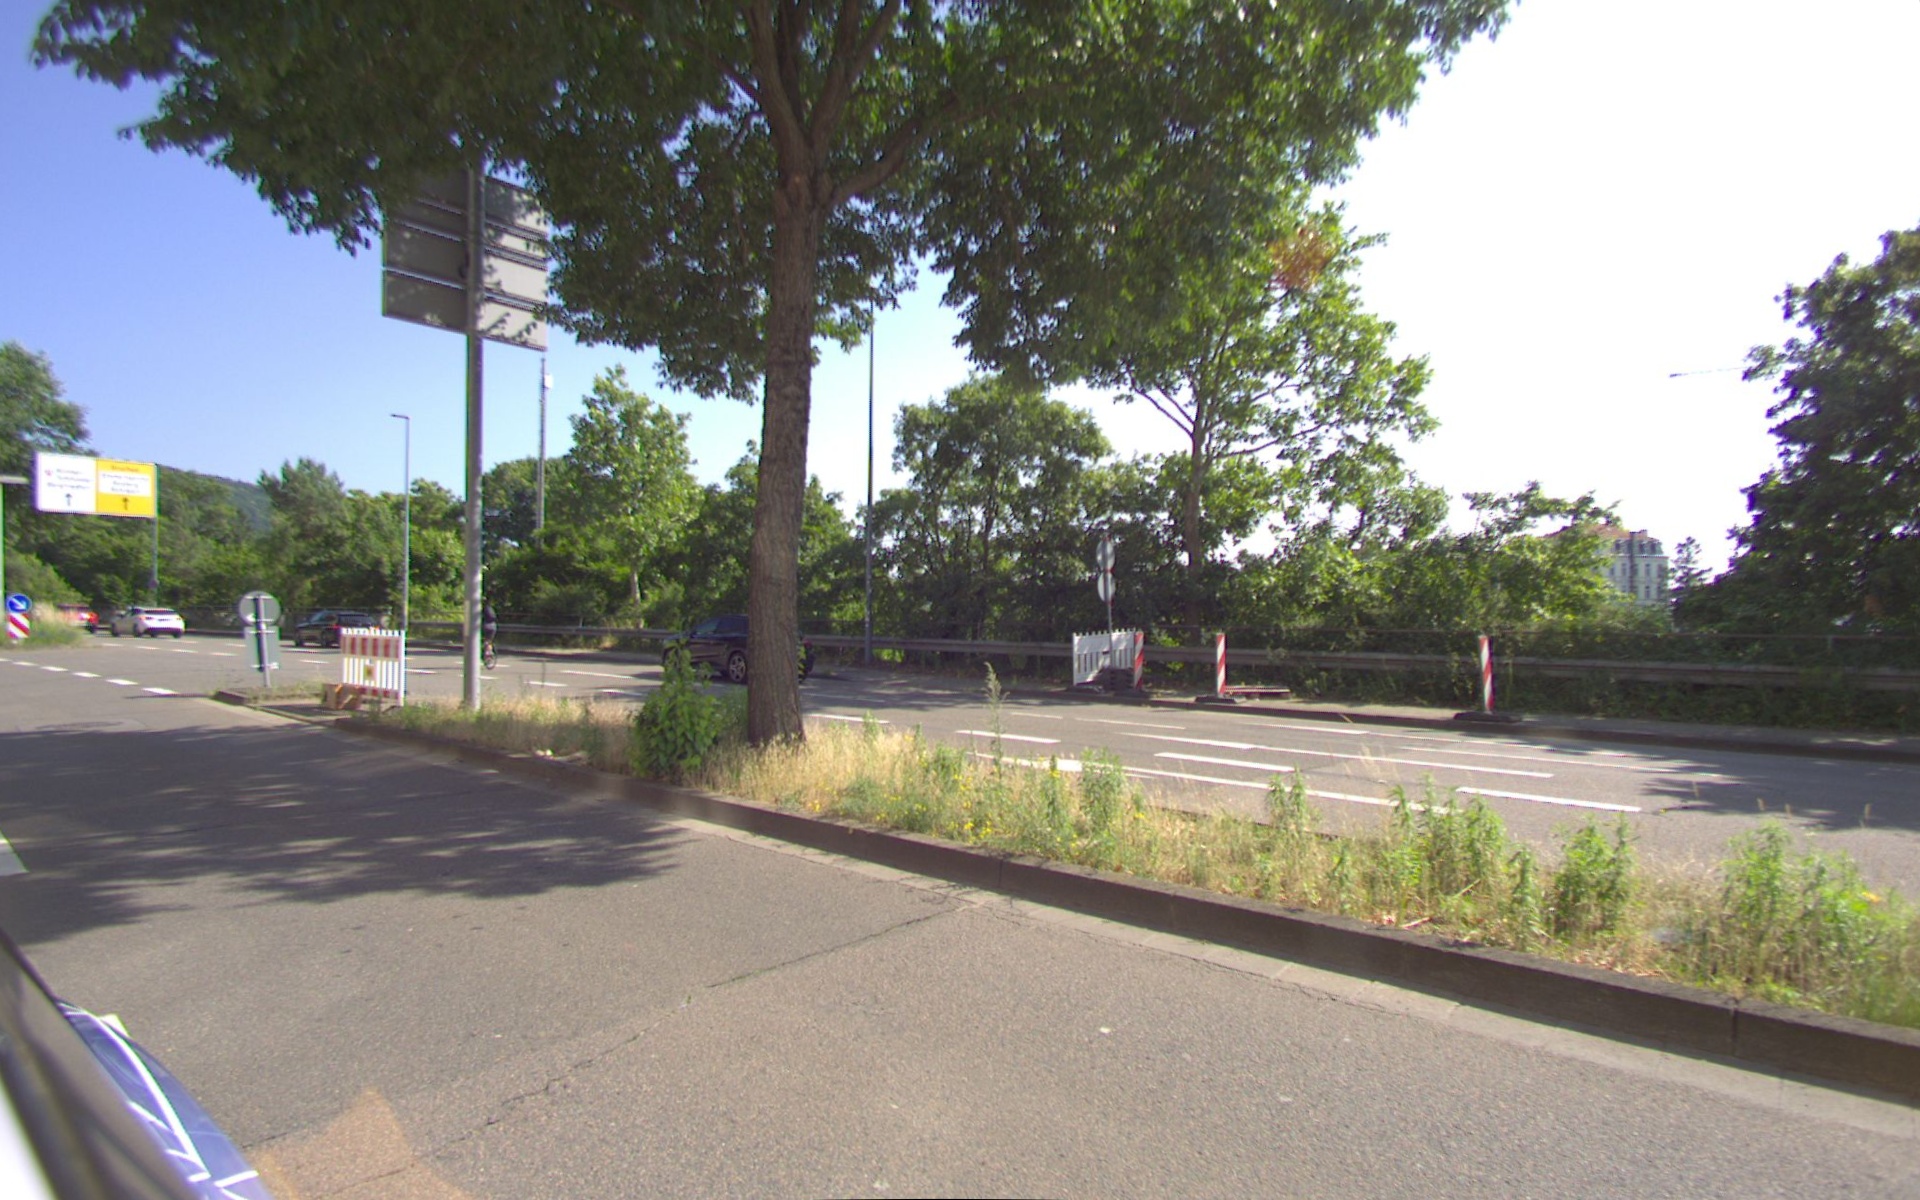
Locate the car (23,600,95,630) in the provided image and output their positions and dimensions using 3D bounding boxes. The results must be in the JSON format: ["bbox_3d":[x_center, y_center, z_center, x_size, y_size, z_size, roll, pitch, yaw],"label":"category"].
[{"bbox_3d":[-48.026,0.795,53.934,3.951,1.531,1.783,0,-2,32],"label":"car"}]

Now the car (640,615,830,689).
[{"bbox_3d":[-5.336,1.167,23.648,4.698,1.540,1.972,-1,-3,43],"label":"car"}]

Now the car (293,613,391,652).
[{"bbox_3d":[-24.369,1.265,39.839,4.613,1.422,1.973,-1,-3,41],"label":"car"}]

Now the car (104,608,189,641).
[{"bbox_3d":[-38.683,1.167,48.112,4.191,1.464,1.849,0,-2,33],"label":"car"}]

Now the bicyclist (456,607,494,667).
[{"bbox_3d":[-12.540,0.947,26.177,0.777,1.545,0.568,0,-2,37],"label":"bicyclist"}]

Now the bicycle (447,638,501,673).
[{"bbox_3d":[-12.586,1.423,26.181,1.803,0.839,0.489,0,-2,37],"label":"bicycle"}]
